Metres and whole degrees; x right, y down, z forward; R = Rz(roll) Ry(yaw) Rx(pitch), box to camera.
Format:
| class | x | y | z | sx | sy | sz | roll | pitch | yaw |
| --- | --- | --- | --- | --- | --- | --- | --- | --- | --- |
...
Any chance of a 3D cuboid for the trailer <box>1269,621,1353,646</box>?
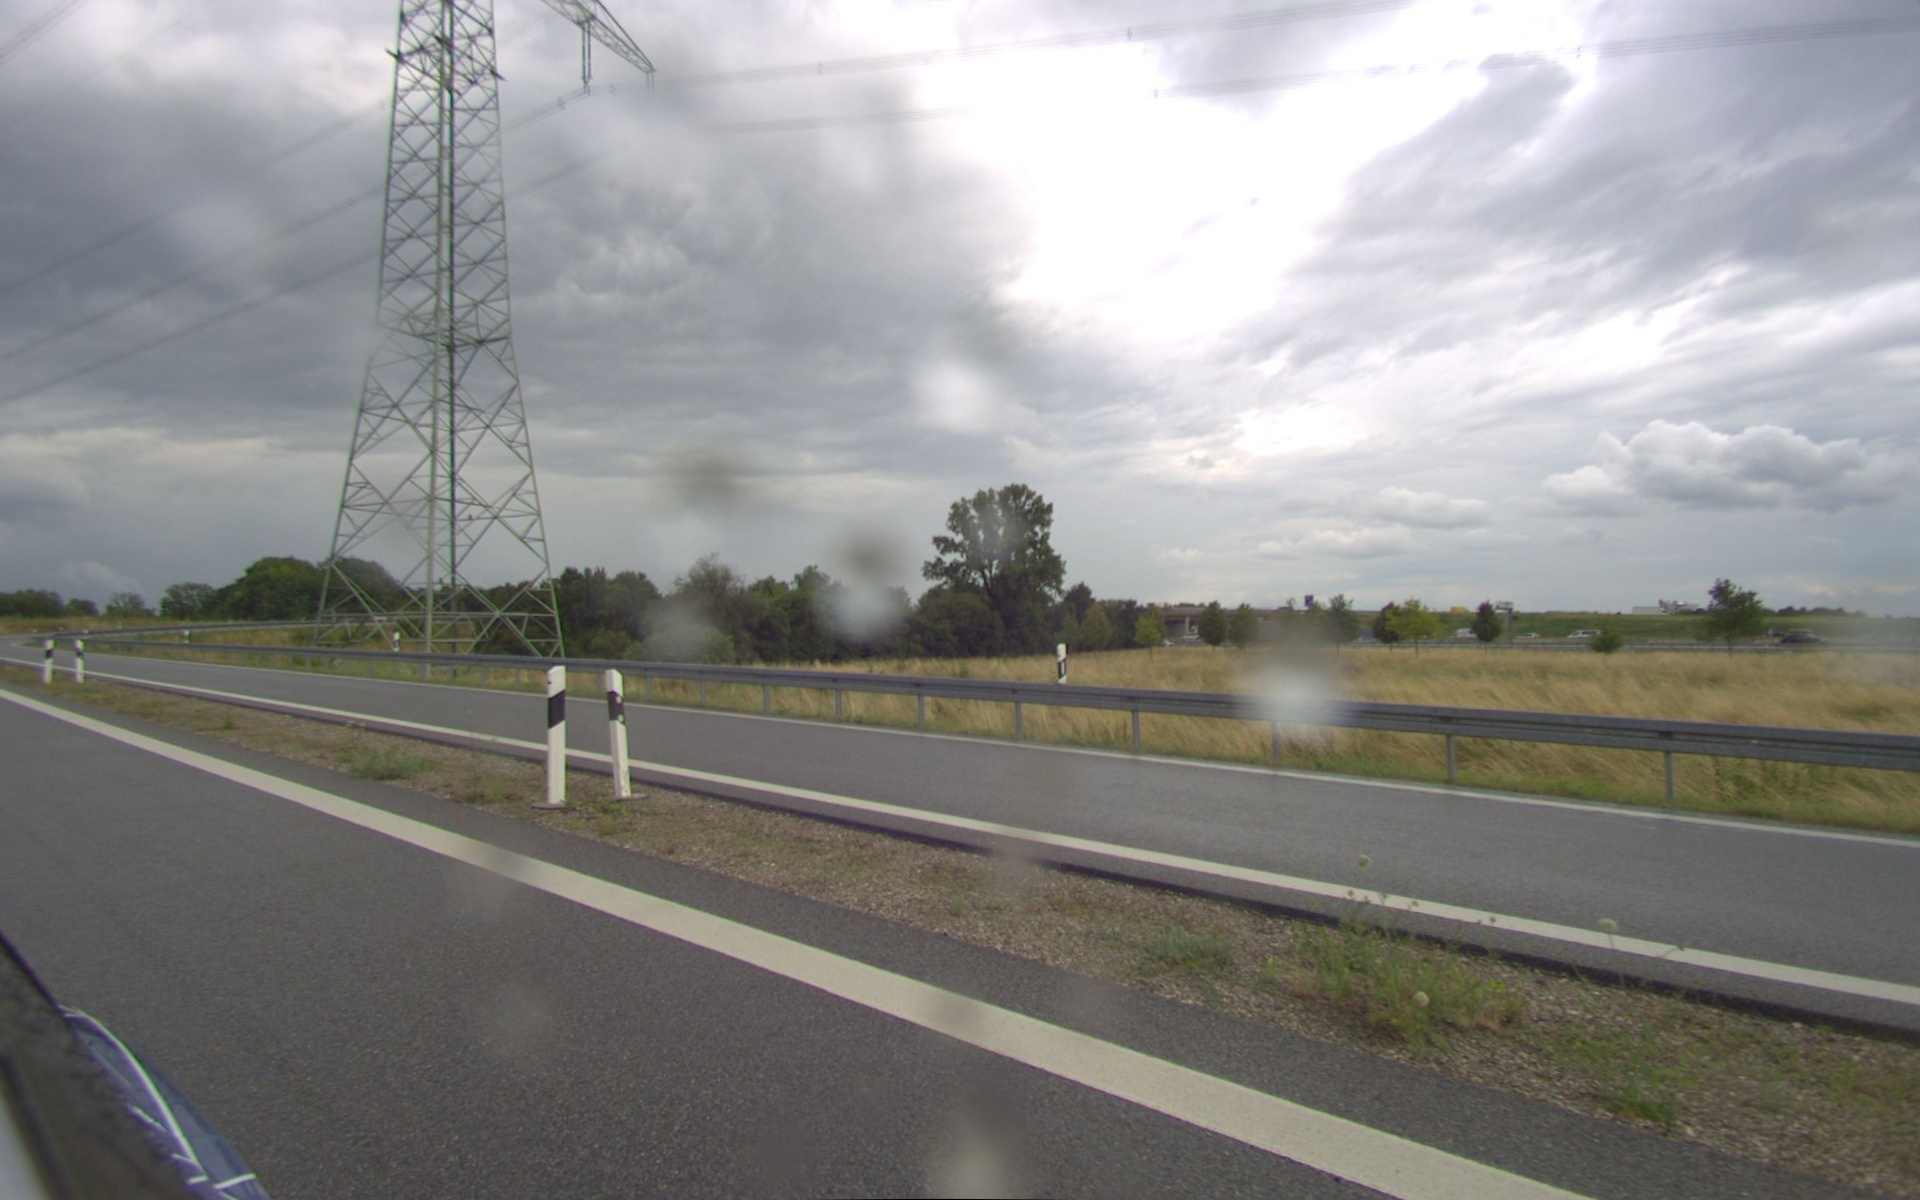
| class | x | y | z | sx | sy | sz | roll | pitch | yaw |
| --- | --- | --- | --- | --- | --- | --- | --- | --- | --- |
| trailer | 56.480 | 5.469 | 163.485 | 2.812 | 3.811 | 13.692 | 0 | -2 | -35 |
